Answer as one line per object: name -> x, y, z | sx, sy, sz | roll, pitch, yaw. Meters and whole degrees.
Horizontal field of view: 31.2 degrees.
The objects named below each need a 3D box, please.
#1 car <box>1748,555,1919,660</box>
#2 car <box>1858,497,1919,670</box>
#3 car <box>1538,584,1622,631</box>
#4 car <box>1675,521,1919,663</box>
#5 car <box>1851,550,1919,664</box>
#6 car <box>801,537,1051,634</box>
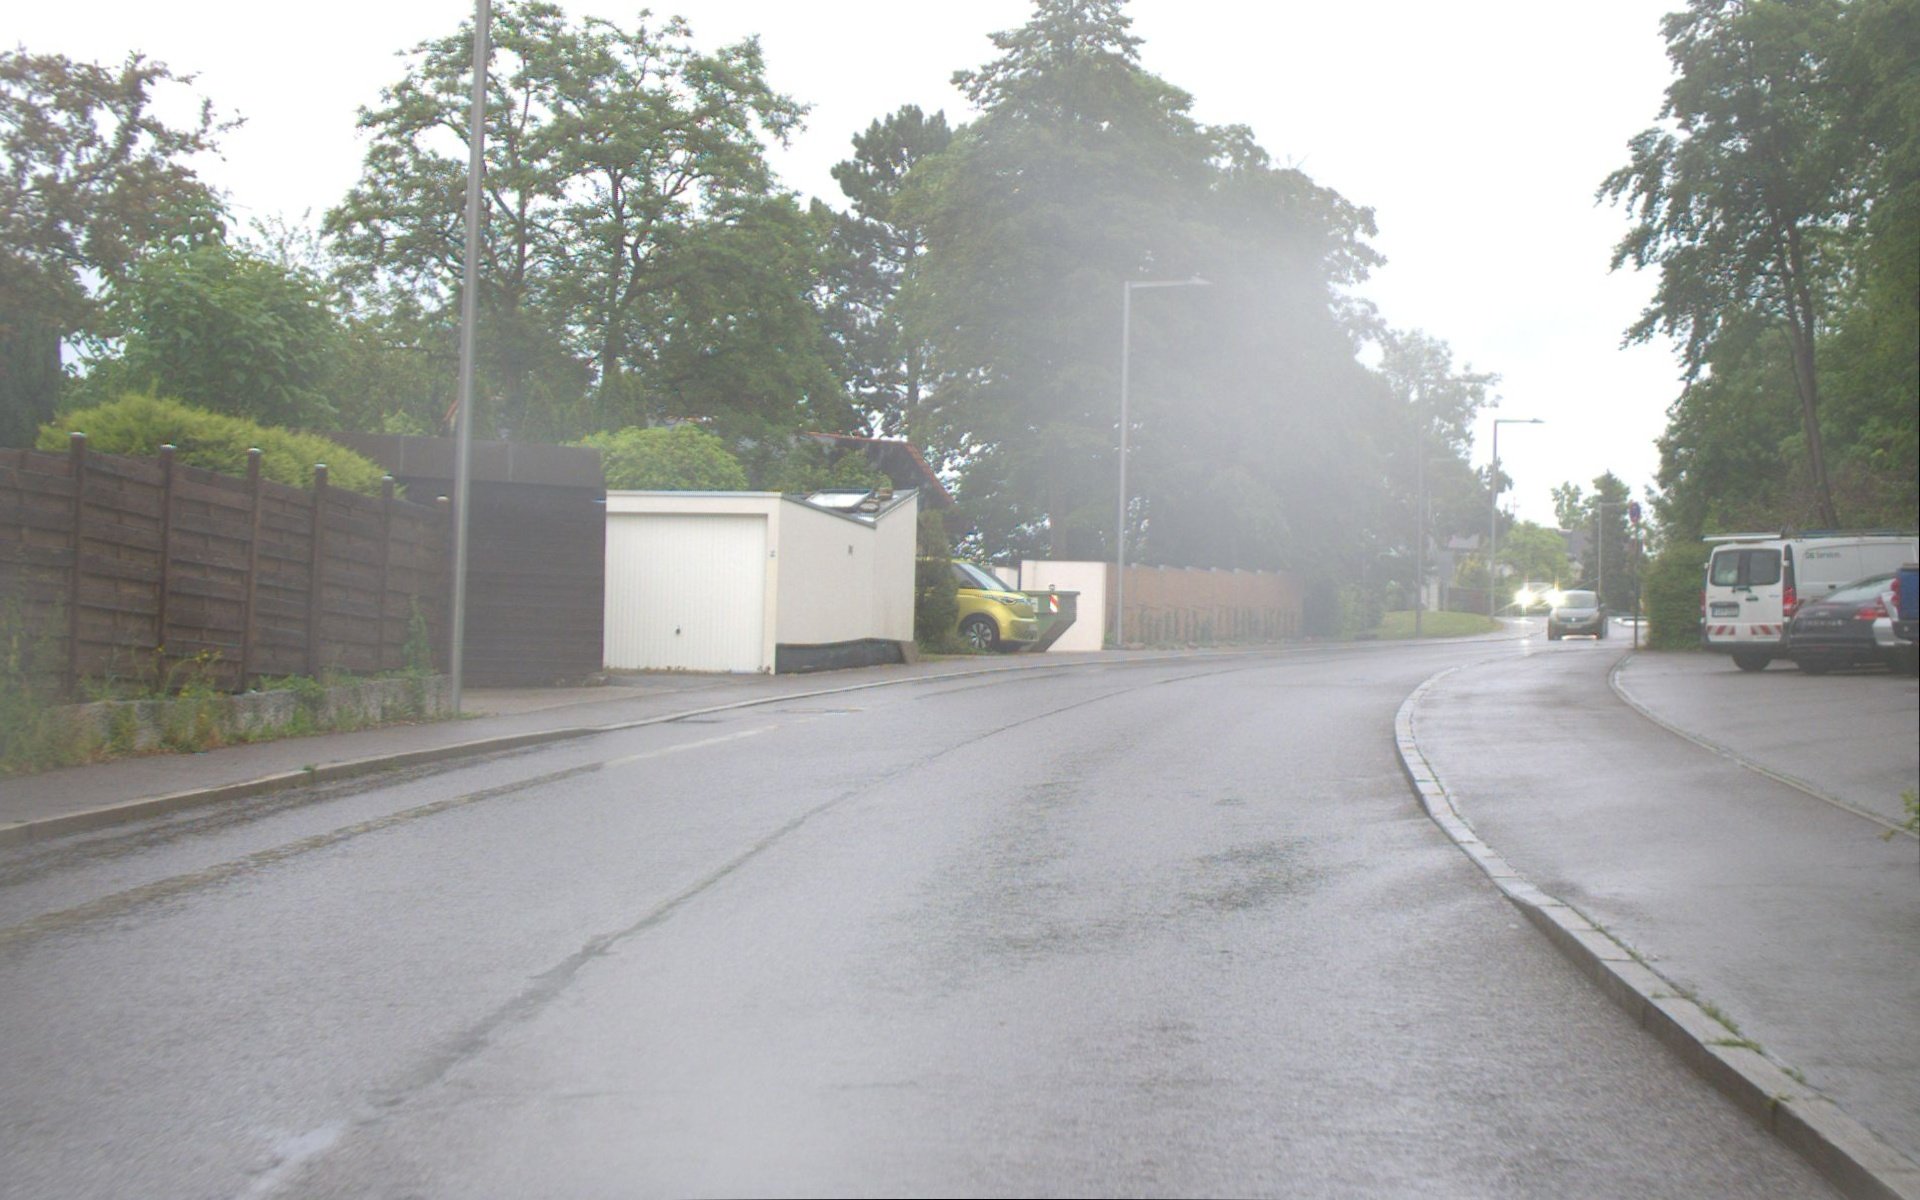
car -> 12.517, 0.077, 45.850 | 3.784, 1.344, 1.762 | -1, 0, -33
car -> 13.314, -0.205, 40.159 | 5.463, 1.962, 2.331 | 0, 1, -32
car -> 20.419, 0.250, 113.136 | 1.836, 1.506, 4.612 | 0, 0, 22
car -> 12.715, -0.140, 48.915 | 4.827, 1.934, 2.156 | -1, 1, -32
car -> 13.253, 0.060, 43.481 | 3.981, 1.408, 1.626 | -1, 0, -34
car -> -0.658, -0.290, 67.802 | 4.507, 1.853, 2.088 | 0, 0, 18
